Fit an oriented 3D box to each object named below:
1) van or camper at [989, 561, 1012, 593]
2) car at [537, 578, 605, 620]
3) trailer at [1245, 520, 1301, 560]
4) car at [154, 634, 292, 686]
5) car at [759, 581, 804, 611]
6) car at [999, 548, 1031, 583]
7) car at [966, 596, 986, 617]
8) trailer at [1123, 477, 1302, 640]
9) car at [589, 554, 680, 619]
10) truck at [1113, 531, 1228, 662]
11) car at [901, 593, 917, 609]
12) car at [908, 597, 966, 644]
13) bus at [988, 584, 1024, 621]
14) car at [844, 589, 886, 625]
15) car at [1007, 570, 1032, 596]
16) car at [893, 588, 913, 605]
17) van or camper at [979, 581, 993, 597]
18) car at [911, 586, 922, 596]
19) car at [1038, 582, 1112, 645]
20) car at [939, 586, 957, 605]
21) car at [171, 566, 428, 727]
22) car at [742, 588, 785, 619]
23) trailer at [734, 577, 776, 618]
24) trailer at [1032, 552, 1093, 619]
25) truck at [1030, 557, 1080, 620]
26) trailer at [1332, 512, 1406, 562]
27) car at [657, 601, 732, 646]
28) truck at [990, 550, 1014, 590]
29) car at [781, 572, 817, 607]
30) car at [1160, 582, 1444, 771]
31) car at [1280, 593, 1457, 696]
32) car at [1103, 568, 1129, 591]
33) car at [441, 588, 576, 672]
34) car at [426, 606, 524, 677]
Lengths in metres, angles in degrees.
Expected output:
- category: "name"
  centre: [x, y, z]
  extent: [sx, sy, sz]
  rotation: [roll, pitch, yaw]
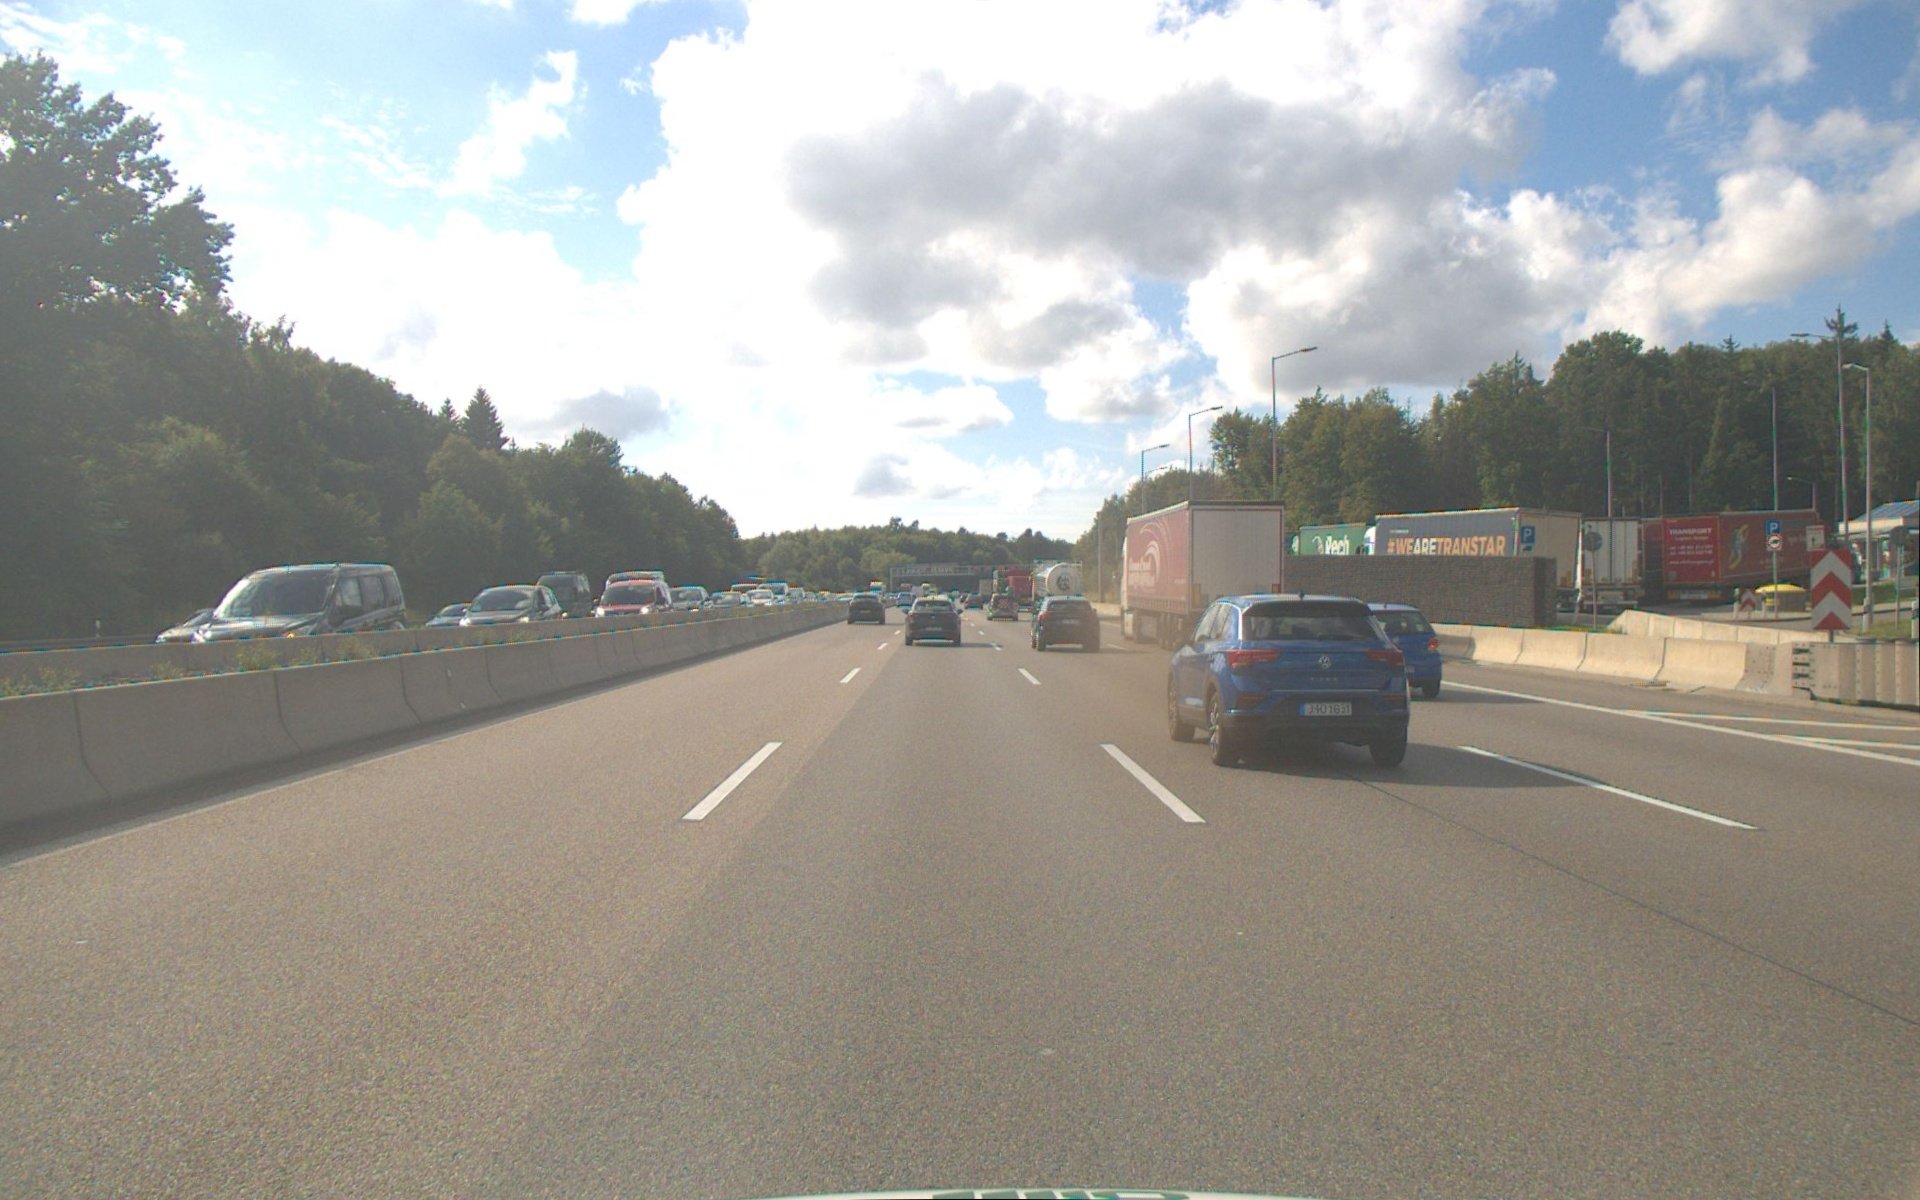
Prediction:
- category: "van or camper"
  centre: [4.378, -2.457, 179.205]
  extent: [2.303, 3.199, 5.710]
  rotation: [1, -2, 0]
- category: "car"
  centre: [-17.320, -0.045, 73.784]
  extent: [1.952, 1.793, 4.459]
  rotation: [1, 0, 0]
- category: "trailer"
  centre: [19.164, -3.639, 101.502]
  extent: [2.009, 2.049, 6.962]
  rotation: [1, -2, -1]
- category: "car"
  centre: [-21.295, 1.720, 48.030]
  extent: [1.677, 1.426, 5.072]
  rotation: [1, -2, 0]
- category: "car"
  centre: [-10.364, -0.242, 96.510]
  extent: [1.953, 1.600, 5.329]
  rotation: [2, 0, 0]
- category: "car"
  centre: [5.112, -3.220, 154.734]
  extent: [2.807, 3.044, 5.148]
  rotation: [1, -2, 0]
- category: "car"
  centre: [1.634, 0.690, 168.224]
  extent: [1.953, 2.049, 3.999]
  rotation: [1, -1, -1]
- category: "trailer"
  centre: [7.110, -0.886, 49.027]
  extent: [2.976, 4.106, 13.885]
  rotation: [1, -2, -1]
- category: "car"
  centre: [-9.491, -0.376, 48.563]
  extent: [1.838, 1.793, 5.291]
  rotation: [1, 0, -3]
- category: "truck"
  centre: [6.997, -0.032, 55.867]
  extent: [3.017, 4.135, 6.067]
  rotation: [1, -2, -1]
- category: "car"
  centre: [-6.565, 0.082, 212.943]
  extent: [1.954, 2.049, 3.998]
  rotation: [1, 0, -3]
- category: "car"
  centre: [-0.701, 0.652, 51.562]
  extent: [1.699, 1.389, 3.999]
  rotation: [1, -1, 0]
- category: "bus"
  centre: [2.716, 0.181, 98.422]
  extent: [1.953, 2.049, 3.999]
  rotation: [1, -2, 0]
- category: "car"
  centre: [-4.905, 0.369, 85.489]
  extent: [1.953, 1.807, 4.000]
  rotation: [0, 0, 0]
- category: "car"
  centre: [5.217, -1.474, 144.718]
  extent: [1.953, 2.049, 3.999]
  rotation: [1, -2, -1]
- category: "car"
  centre: [-6.339, -0.382, 184.938]
  extent: [2.111, 1.807, 3.999]
  rotation: [1, -1, 0]
- category: "van or camper"
  centre: [4.047, -1.685, 260.913]
  extent: [2.041, 2.536, 4.224]
  rotation: [0, 0, -1]
- category: "car"
  centre: [-6.667, -1.400, 252.819]
  extent: [1.590, 1.496, 3.814]
  rotation: [1, -1, 0]
- category: "car"
  centre: [3.233, 0.395, 47.082]
  extent: [1.762, 1.673, 3.999]
  rotation: [1, -1, 0]
- category: "car"
  centre: [-1.381, -0.468, 191.646]
  extent: [1.953, 2.049, 3.999]
  rotation: [-1, -2, -1]
- category: "car"
  centre: [-9.160, 0.651, 23.388]
  extent: [1.779, 2.049, 4.451]
  rotation: [1, -2, 0]
- category: "car"
  centre: [-10.421, 0.186, 88.006]
  extent: [1.729, 1.600, 4.357]
  rotation: [1, 0, 0]
- category: "trailer"
  centre: [-14.891, -0.152, 120.441]
  extent: [2.233, 2.834, 8.538]
  rotation: [1, 0, -2]
- category: "trailer"
  centre: [6.637, -0.807, 108.988]
  extent: [2.974, 4.086, 12.241]
  rotation: [0, -1, -1]
- category: "truck"
  centre: [6.559, -0.706, 115.179]
  extent: [2.983, 4.233, 7.125]
  rotation: [0, -1, -1]
- category: "trailer"
  centre: [19.919, -3.024, 80.802]
  extent: [1.953, 2.049, 6.191]
  rotation: [1, -2, -1]
- category: "car"
  centre: [-10.067, 0.868, 63.042]
  extent: [1.952, 1.600, 5.207]
  rotation: [1, 0, 0]
- category: "truck"
  centre: [4.328, -3.039, 172.129]
  extent: [2.309, 3.635, 11.265]
  rotation: [1, -2, 1]
- category: "car"
  centre: [-10.390, -0.647, 106.693]
  extent: [1.953, 2.049, 4.675]
  rotation: [1, -2, -2]
- category: "car"
  centre: [3.219, 0.631, 16.553]
  extent: [1.884, 1.568, 4.646]
  rotation: [1, 1, 0]
- category: "car"
  centre: [6.570, 0.702, 27.055]
  extent: [1.680, 1.538, 4.300]
  rotation: [-1, -1, -2]
- category: "car"
  centre: [14.833, -1.954, 157.448]
  extent: [1.953, 2.049, 3.999]
  rotation: [-1, 0, -1]
- category: "car"
  centre: [-10.261, 0.689, 37.901]
  extent: [1.820, 1.793, 4.458]
  rotation: [1, -1, 0]
- category: "car"
  centre: [-17.749, 1.474, 60.818]
  extent: [1.952, 2.415, 5.329]
  rotation: [1, 0, 0]
